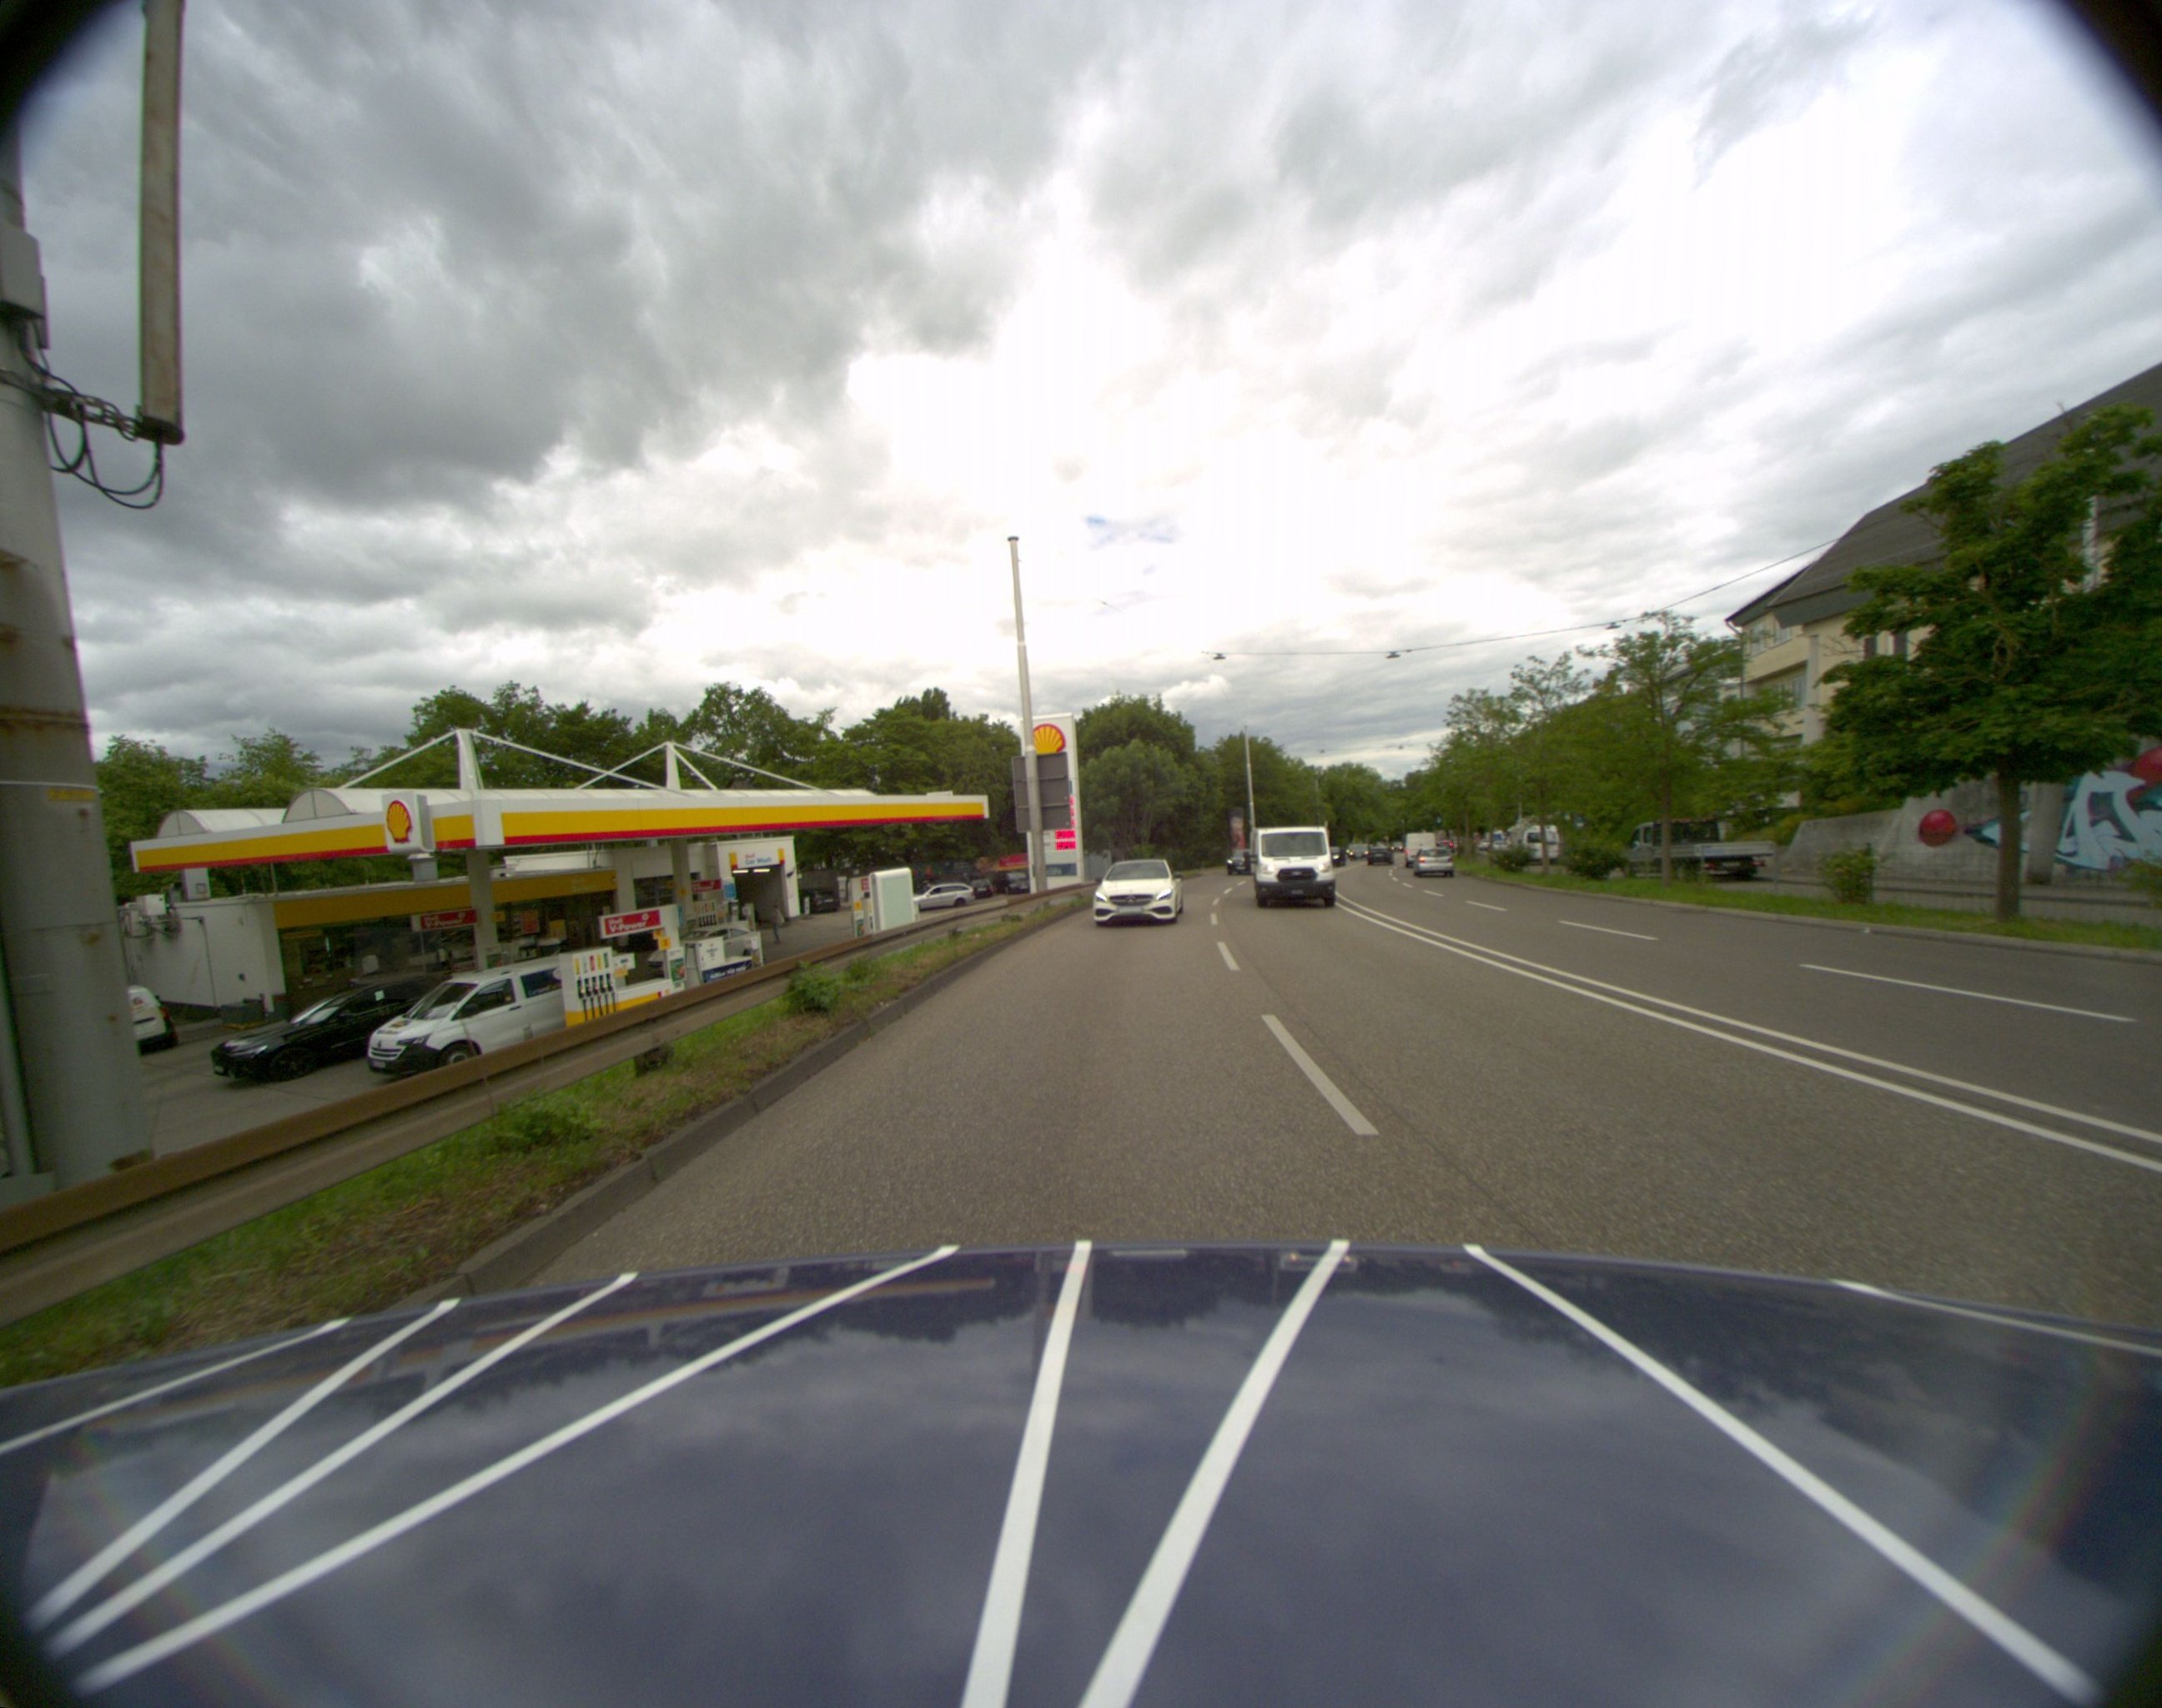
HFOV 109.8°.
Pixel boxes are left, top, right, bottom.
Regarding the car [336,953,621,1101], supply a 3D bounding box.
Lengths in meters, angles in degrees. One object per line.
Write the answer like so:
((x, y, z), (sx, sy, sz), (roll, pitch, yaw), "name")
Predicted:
((-13.655, 3.784, 17.642), (1.737, 1.999, 4.718), (-2, 4, 26), "car")

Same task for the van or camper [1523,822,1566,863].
((29.861, -0.756, 49.103), (1.995, 2.459, 5.719), (-1, 1, 28), "van or camper")

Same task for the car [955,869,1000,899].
((-6.771, 1.884, 49.342), (1.736, 1.429, 4.283), (-6, 5, -22), "car")

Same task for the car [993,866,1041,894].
((-4.257, 1.673, 50.132), (1.736, 1.419, 4.283), (-6, 5, -24), "car")

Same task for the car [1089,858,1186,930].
((1.428, 0.847, 17.711), (1.820, 1.339, 4.002), (-1, 2, 10), "car")

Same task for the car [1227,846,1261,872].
((9.832, 0.254, 45.589), (1.732, 1.403, 4.004), (-3, 0, 15), "car")

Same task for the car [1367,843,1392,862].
((23.255, -0.171, 59.158), (1.737, 1.406, 4.435), (-1, 1, 22), "car")

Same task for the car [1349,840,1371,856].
((28.341, -0.638, 77.101), (1.727, 1.469, 4.006), (-3, 0, 24), "car")

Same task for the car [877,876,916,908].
((-11.341, 2.299, 46.554), (1.630, 1.511, 4.091), (-4, 4, -23), "car")

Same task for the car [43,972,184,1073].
((-27.007, 4.589, 21.193), (3.867, 1.929, 1.742), (-1, 8, 32), "car")

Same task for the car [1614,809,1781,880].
((22.250, -0.366, 27.863), (2.271, 2.260, 6.332), (-1, 1, 14), "car")

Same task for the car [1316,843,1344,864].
((18.852, -0.038, 57.392), (1.734, 1.403, 4.005), (-3, 0, 21), "car")

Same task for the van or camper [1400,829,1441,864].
((23.527, -0.540, 52.784), (2.011, 2.248, 5.969), (-1, 0, 19), "van or camper")

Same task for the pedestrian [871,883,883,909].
((-12.253, 2.505, 45.562), (0.469, 1.530, 0.431), (-7, 0, -25), "pedestrian")

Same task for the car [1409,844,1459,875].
((17.517, 0.250, 37.837), (1.705, 1.400, 3.813), (-1, 0, 16), "car")

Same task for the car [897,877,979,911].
((-8.197, 2.282, 43.752), (4.299, 1.424, 1.597), (-5, 4, -30), "car")

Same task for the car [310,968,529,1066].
((-17.214, 4.153, 19.991), (1.736, 1.478, 3.883), (0, 4, 29), "car")

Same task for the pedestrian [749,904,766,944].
((-14.086, 3.051, 33.089), (0.491, 1.695, 0.432), (-2, 2, 35), "pedestrian")

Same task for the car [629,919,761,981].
((-13.933, 3.420, 27.668), (1.737, 1.478, 3.882), (-2, 4, 27), "car")

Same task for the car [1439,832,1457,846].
((45.159, -1.861, 93.445), (1.786, 1.566, 4.475), (-1, 1, 27), "car")

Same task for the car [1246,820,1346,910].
((5.970, 0.270, 21.883), (1.997, 2.161, 6.273), (-2, 0, 9), "car")

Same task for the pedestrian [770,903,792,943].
((-13.205, 3.052, 33.434), (0.543, 1.695, 0.610), (-2, 1, 21), "pedestrian")

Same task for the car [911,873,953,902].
((-9.565, 2.097, 48.623), (1.736, 1.428, 4.207), (-4, 4, -23), "car")

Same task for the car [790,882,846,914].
((-15.568, 2.548, 44.912), (1.726, 1.428, 4.093), (-5, 4, -40), "car")

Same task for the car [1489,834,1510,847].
((48.246, -1.588, 87.670), (1.674, 1.420, 4.424), (1, 2, 24), "car")
